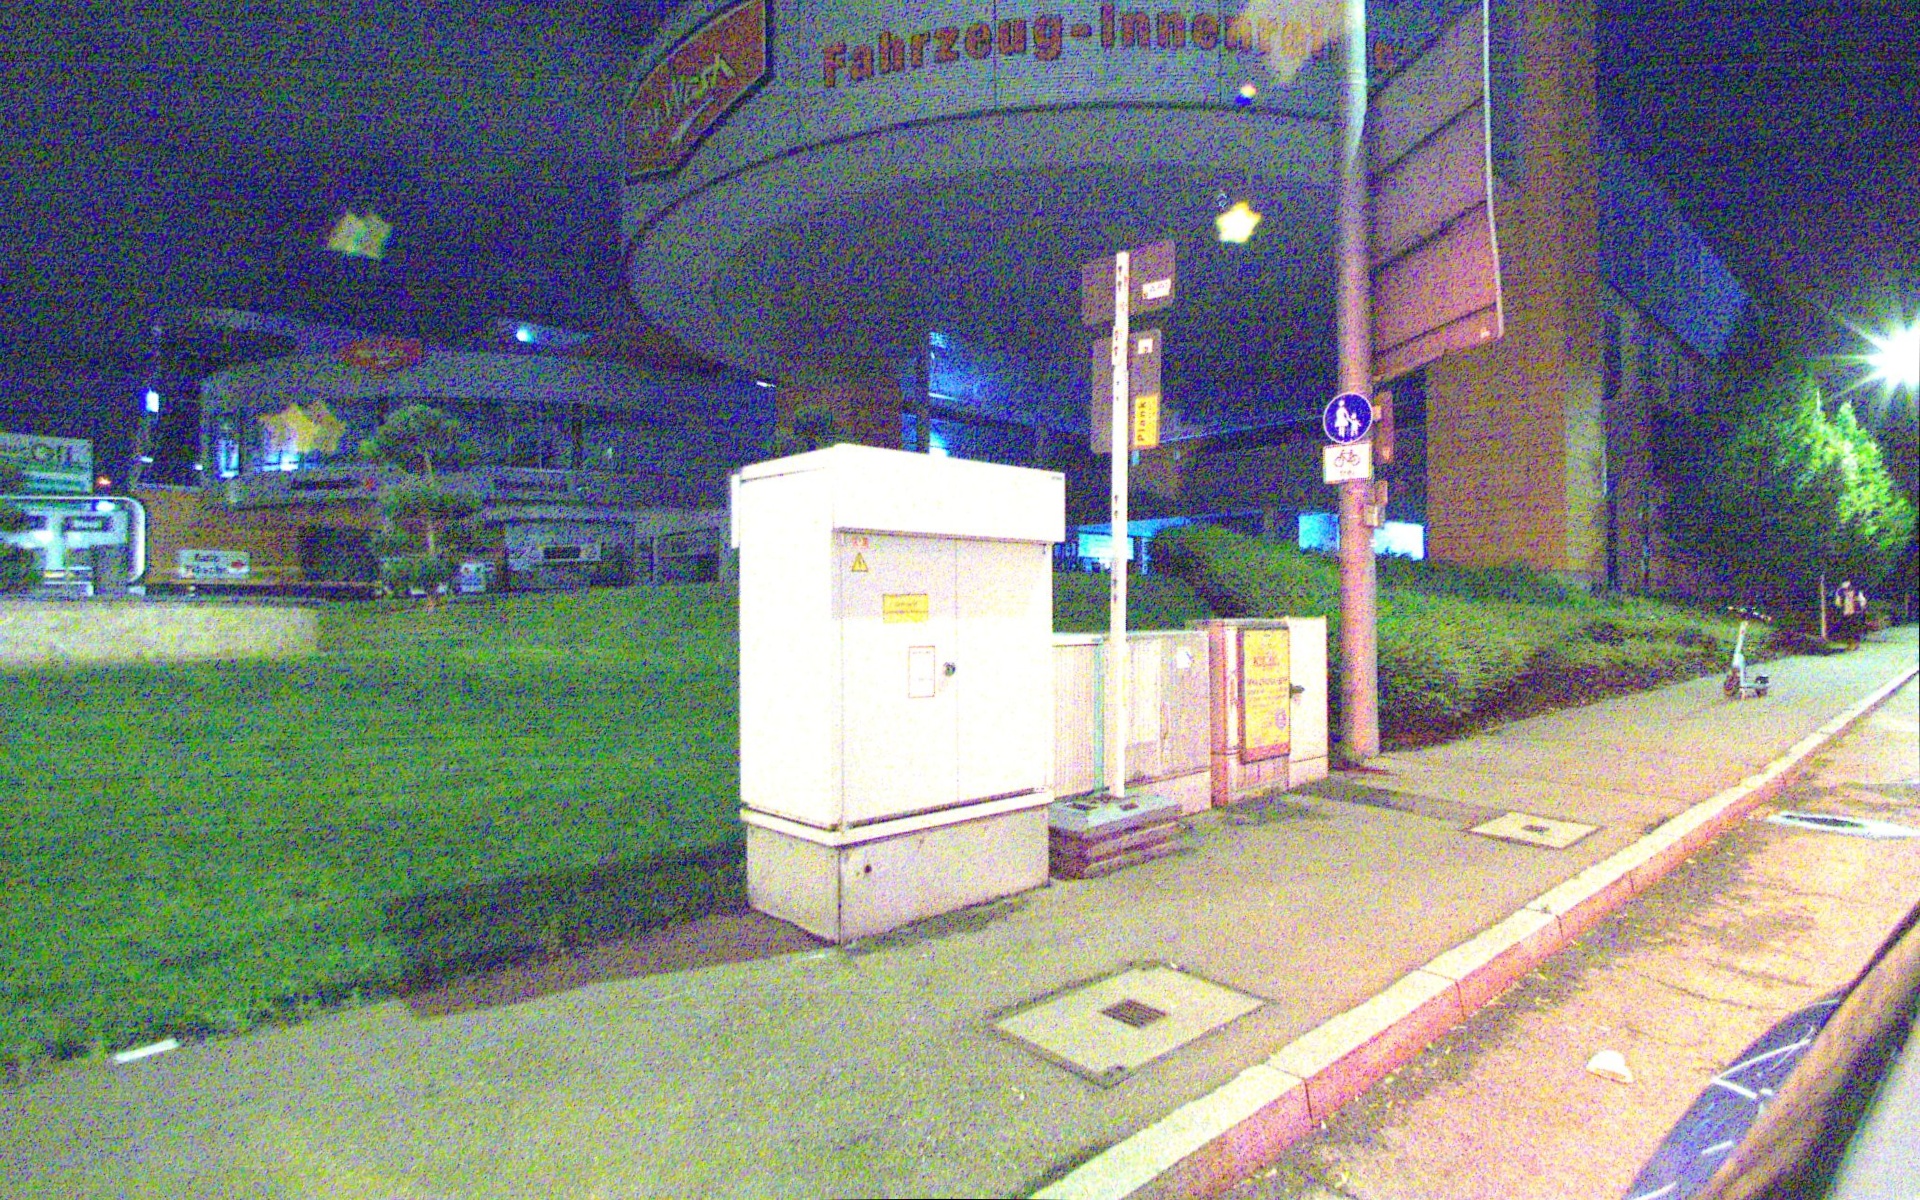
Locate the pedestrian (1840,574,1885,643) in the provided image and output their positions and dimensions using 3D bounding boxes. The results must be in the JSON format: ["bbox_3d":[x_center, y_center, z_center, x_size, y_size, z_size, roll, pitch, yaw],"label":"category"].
[{"bbox_3d":[24.724,0.225,27.740,0.597,1.842,0.824,-1,0,-40],"label":"pedestrian"}]

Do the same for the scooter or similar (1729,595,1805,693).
[{"bbox_3d":[11.260,0.584,14.111,1.367,1.295,0.569,0,1,-41],"label":"scooter or similar"}]
